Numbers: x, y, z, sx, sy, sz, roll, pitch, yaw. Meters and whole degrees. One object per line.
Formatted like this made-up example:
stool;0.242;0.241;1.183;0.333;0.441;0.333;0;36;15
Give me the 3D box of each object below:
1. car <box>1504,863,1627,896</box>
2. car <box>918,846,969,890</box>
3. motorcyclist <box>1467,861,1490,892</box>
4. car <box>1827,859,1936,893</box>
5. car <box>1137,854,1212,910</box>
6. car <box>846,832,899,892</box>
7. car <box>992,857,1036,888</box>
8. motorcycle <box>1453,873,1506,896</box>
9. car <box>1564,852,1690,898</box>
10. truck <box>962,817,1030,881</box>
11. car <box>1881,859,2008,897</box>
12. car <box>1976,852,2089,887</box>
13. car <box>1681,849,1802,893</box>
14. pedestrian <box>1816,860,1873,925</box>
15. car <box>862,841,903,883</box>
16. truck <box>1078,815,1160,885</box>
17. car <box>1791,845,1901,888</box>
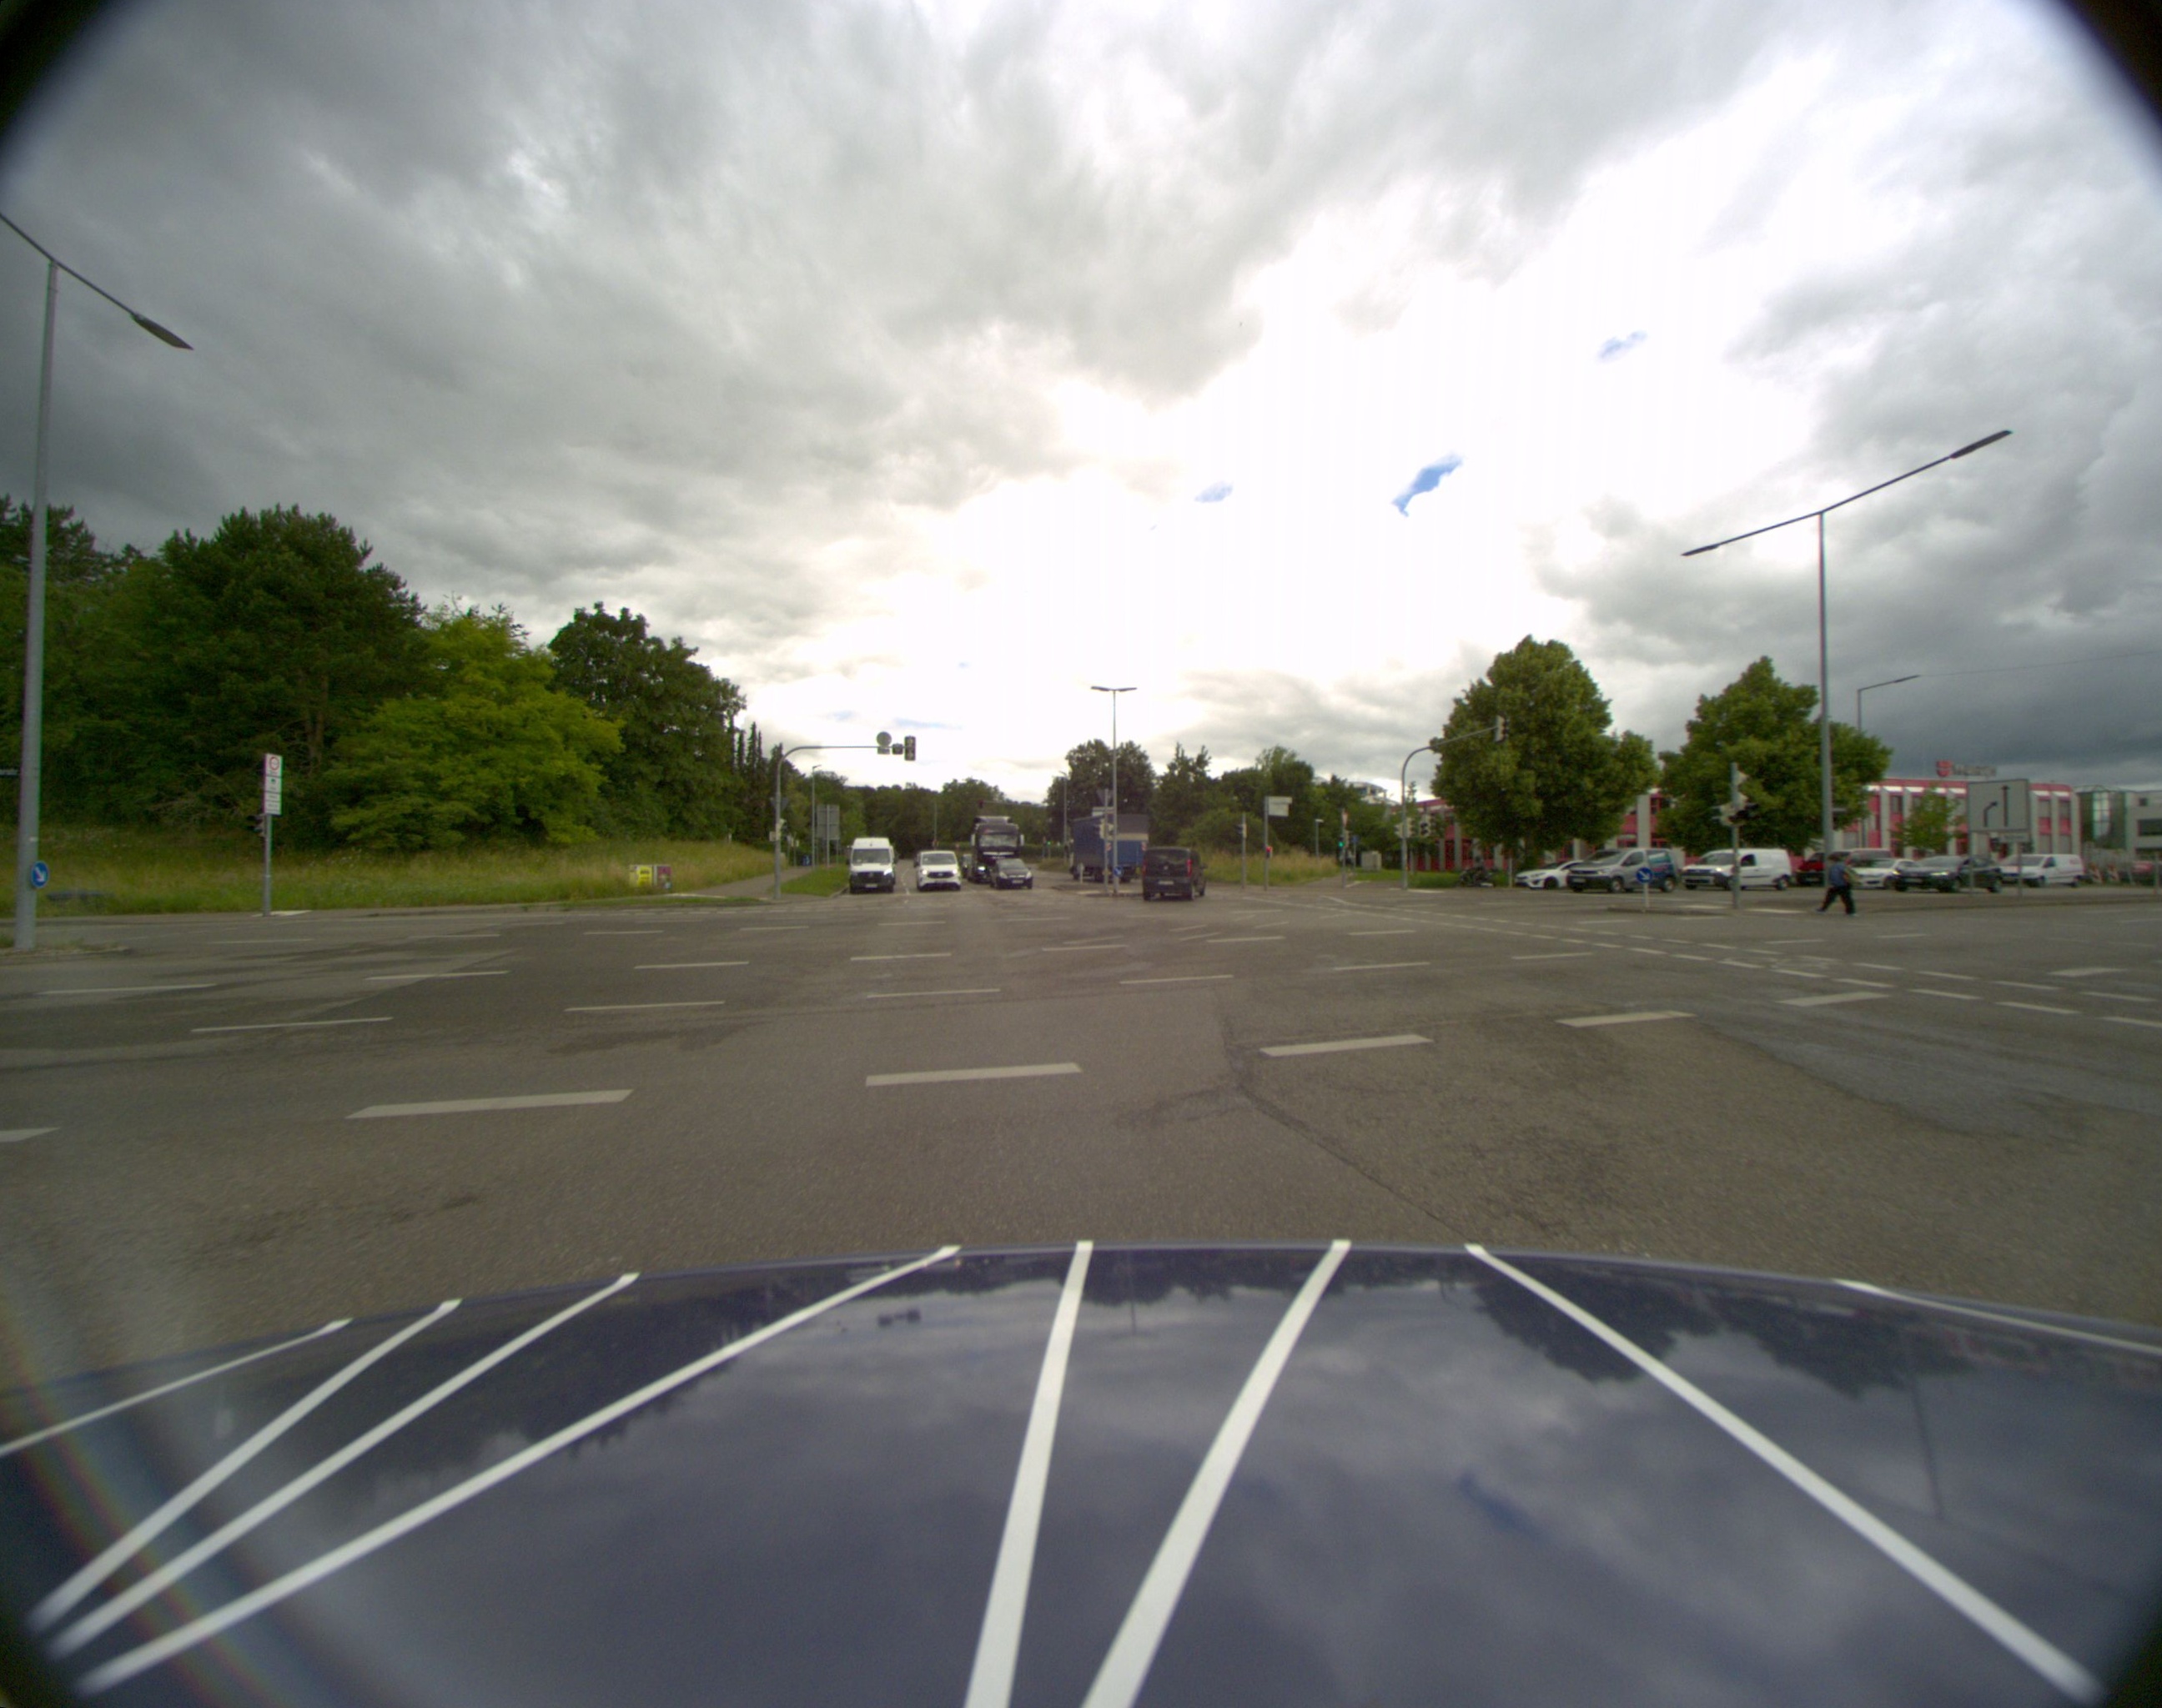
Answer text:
car;22.466;1.193;35.346;4.511;1.411;1.836;-1;-3;-1
car;-6.933;0.683;37.932;2.121;1.979;4.982;-2;0;-14
motorcyclist;18.594;1.043;35.586;0.815;1.412;0.761;-1;-2;18
car;36.568;1.015;34.733;4.227;1.332;1.812;3;-1;-19
car;3.545;0.958;27.951;1.996;1.865;4.897;-1;-1;16
car;-10.160;0.395;37.201;2.229;2.643;5.953;-1;0;-15
car;-3.385;0.886;37.749;1.637;1.433;3.862;0;-1;-14
motorcycle;18.629;1.419;35.574;2.065;1.083;0.761;-1;-2;18
car;21.692;0.803;30.215;4.225;1.769;1.812;0;0;-16
truck;-5.157;-0.252;45.199;3.076;3.497;5.953;-1;0;-15
car;35.635;0.999;31.376;4.225;1.332;1.812;3;-1;-16
car;53.932;0.868;43.077;5.239;1.894;1.949;0;-1;-13
car;28.488;0.760;32.782;4.701;1.781;1.812;1;-1;-18
pedestrian;18.361;0.909;18.285;0.671;1.521;0.715;-1;0;-12
car;-12.059;0.491;46.420;2.229;2.372;5.954;-1;0;-13
truck;2.063;-0.150;45.268;2.788;3.781;8.381;0;-1;-12
car;39.062;0.643;38.799;4.458;1.894;2.182;3;-1;-19
